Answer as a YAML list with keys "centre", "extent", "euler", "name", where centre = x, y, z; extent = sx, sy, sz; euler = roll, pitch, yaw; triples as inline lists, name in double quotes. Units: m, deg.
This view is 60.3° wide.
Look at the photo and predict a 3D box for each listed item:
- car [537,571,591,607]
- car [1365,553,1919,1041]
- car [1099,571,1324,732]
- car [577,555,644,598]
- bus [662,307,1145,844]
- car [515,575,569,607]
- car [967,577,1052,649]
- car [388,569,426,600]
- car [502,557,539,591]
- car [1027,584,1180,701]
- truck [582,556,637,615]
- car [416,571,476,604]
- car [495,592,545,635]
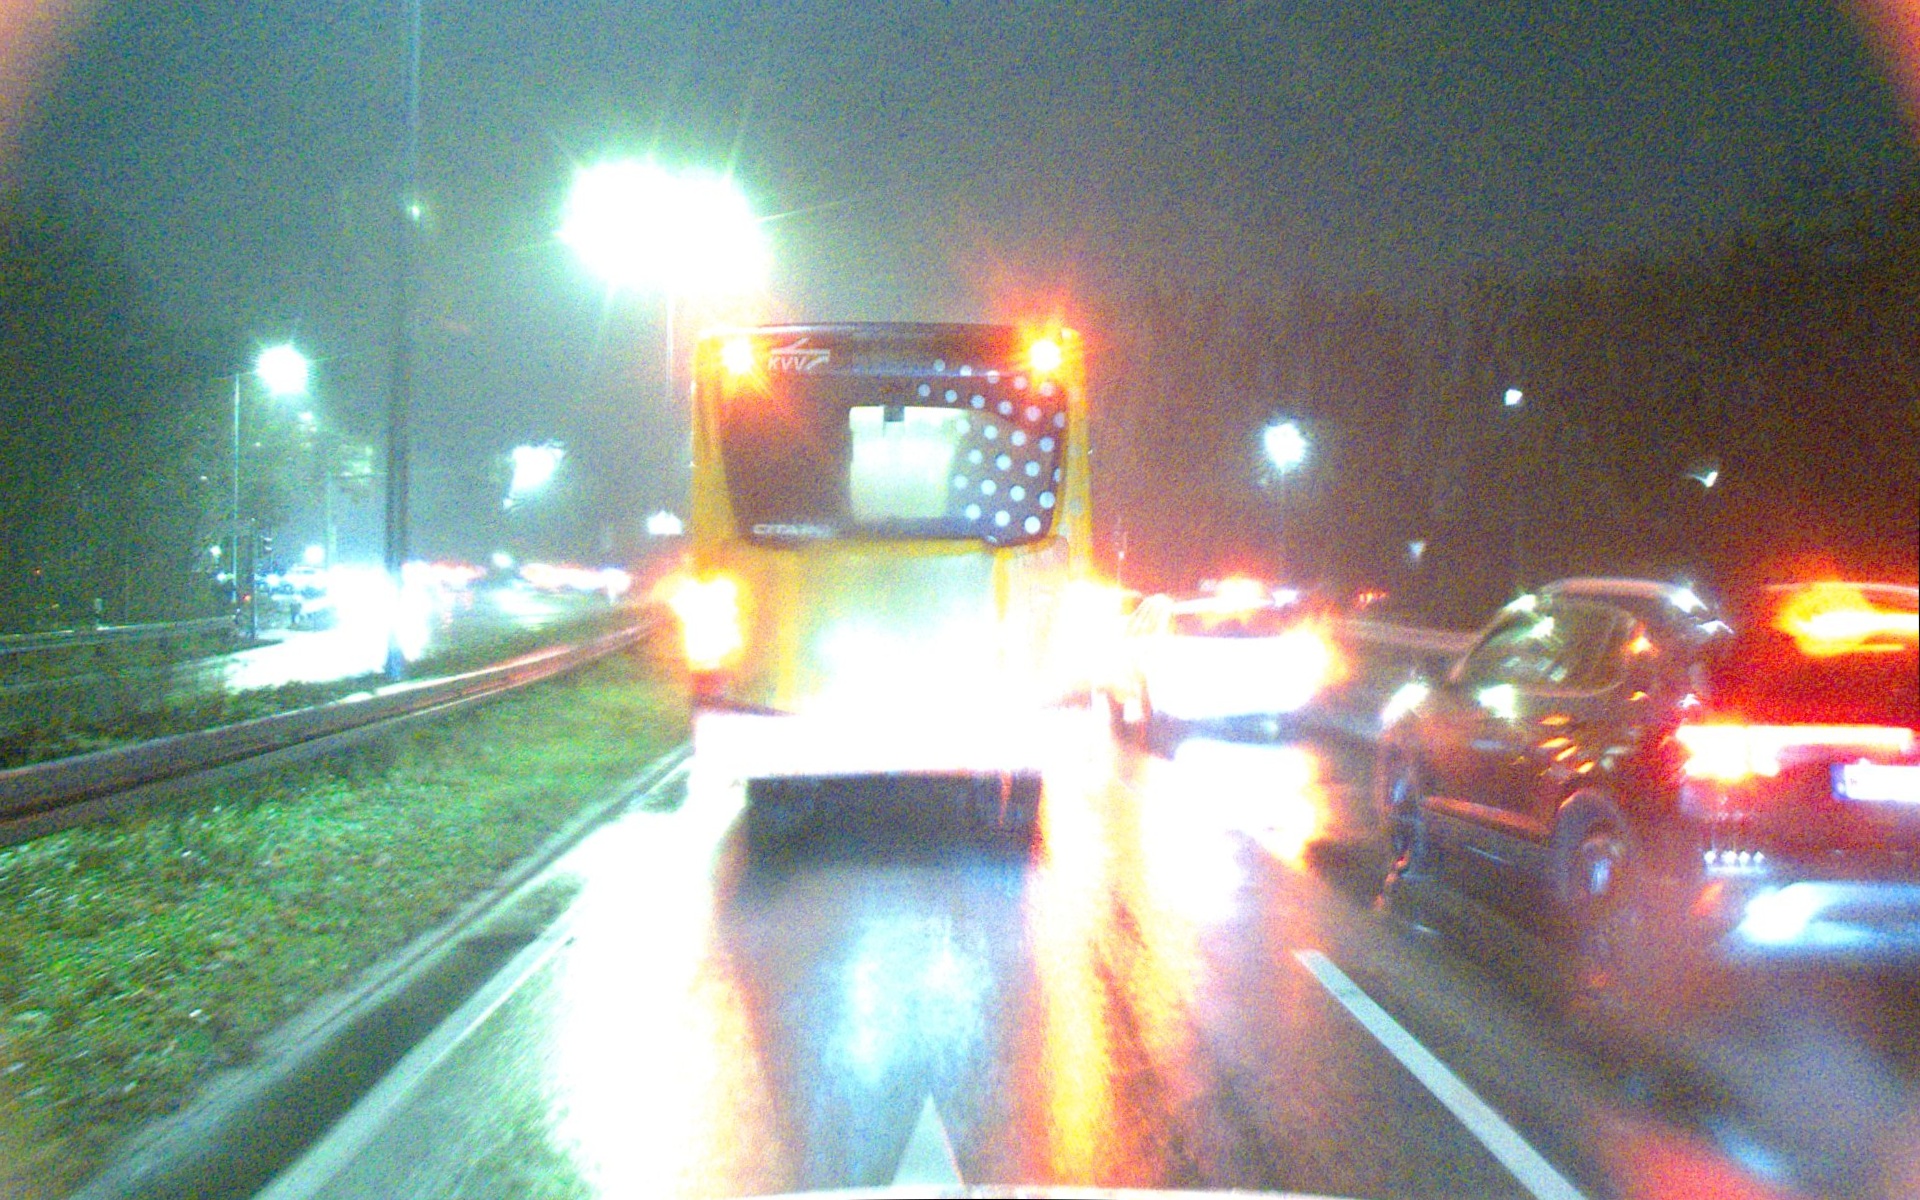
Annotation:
- centre: [-23.221, -0.664, 96.905]
  extent: [1.974, 2.049, 3.957]
  euler: [0, 0, -31]
  name: "car"
- centre: [3.219, 0.659, 7.364]
  extent: [1.705, 1.592, 3.774]
  euler: [2, 0, -3]
  name: "car"
- centre: [2.700, 0.509, 18.596]
  extent: [1.783, 1.618, 3.774]
  euler: [0, 0, -3]
  name: "car"
- centre: [-17.677, -1.161, 83.547]
  extent: [1.975, 2.049, 3.955]
  euler: [2, -1, -33]
  name: "car"
- centre: [-0.438, -0.151, 14.039]
  extent: [2.758, 3.077, 8.684]
  euler: [1, 0, -2]
  name: "bus"
- centre: [-22.871, -0.493, 90.509]
  extent: [1.735, 1.659, 3.581]
  euler: [2, -1, -34]
  name: "car"
- centre: [1.124, 0.292, 39.204]
  extent: [1.743, 1.570, 3.873]
  euler: [2, 0, -2]
  name: "car"
- centre: [-37.119, -1.039, 110.992]
  extent: [1.800, 2.049, 3.962]
  euler: [0, 1, -29]
  name: "car"
- centre: [-28.348, -1.665, 106.723]
  extent: [2.084, 2.049, 3.987]
  euler: [2, -1, -13]
  name: "car"
- centre: [2.070, 0.575, 24.775]
  extent: [1.783, 1.618, 3.774]
  euler: [0, 0, -3]
  name: "car"
- centre: [-15.840, -0.711, 74.648]
  extent: [1.828, 2.434, 4.753]
  euler: [-1, 3, -19]
  name: "truck"
- centre: [-31.965, -0.778, 102.861]
  extent: [2.198, 2.049, 3.942]
  euler: [0, 0, -40]
  name: "car"
- centre: [-21.840, 0.658, 81.963]
  extent: [1.965, 2.049, 3.974]
  euler: [0, 0, -21]
  name: "car"
